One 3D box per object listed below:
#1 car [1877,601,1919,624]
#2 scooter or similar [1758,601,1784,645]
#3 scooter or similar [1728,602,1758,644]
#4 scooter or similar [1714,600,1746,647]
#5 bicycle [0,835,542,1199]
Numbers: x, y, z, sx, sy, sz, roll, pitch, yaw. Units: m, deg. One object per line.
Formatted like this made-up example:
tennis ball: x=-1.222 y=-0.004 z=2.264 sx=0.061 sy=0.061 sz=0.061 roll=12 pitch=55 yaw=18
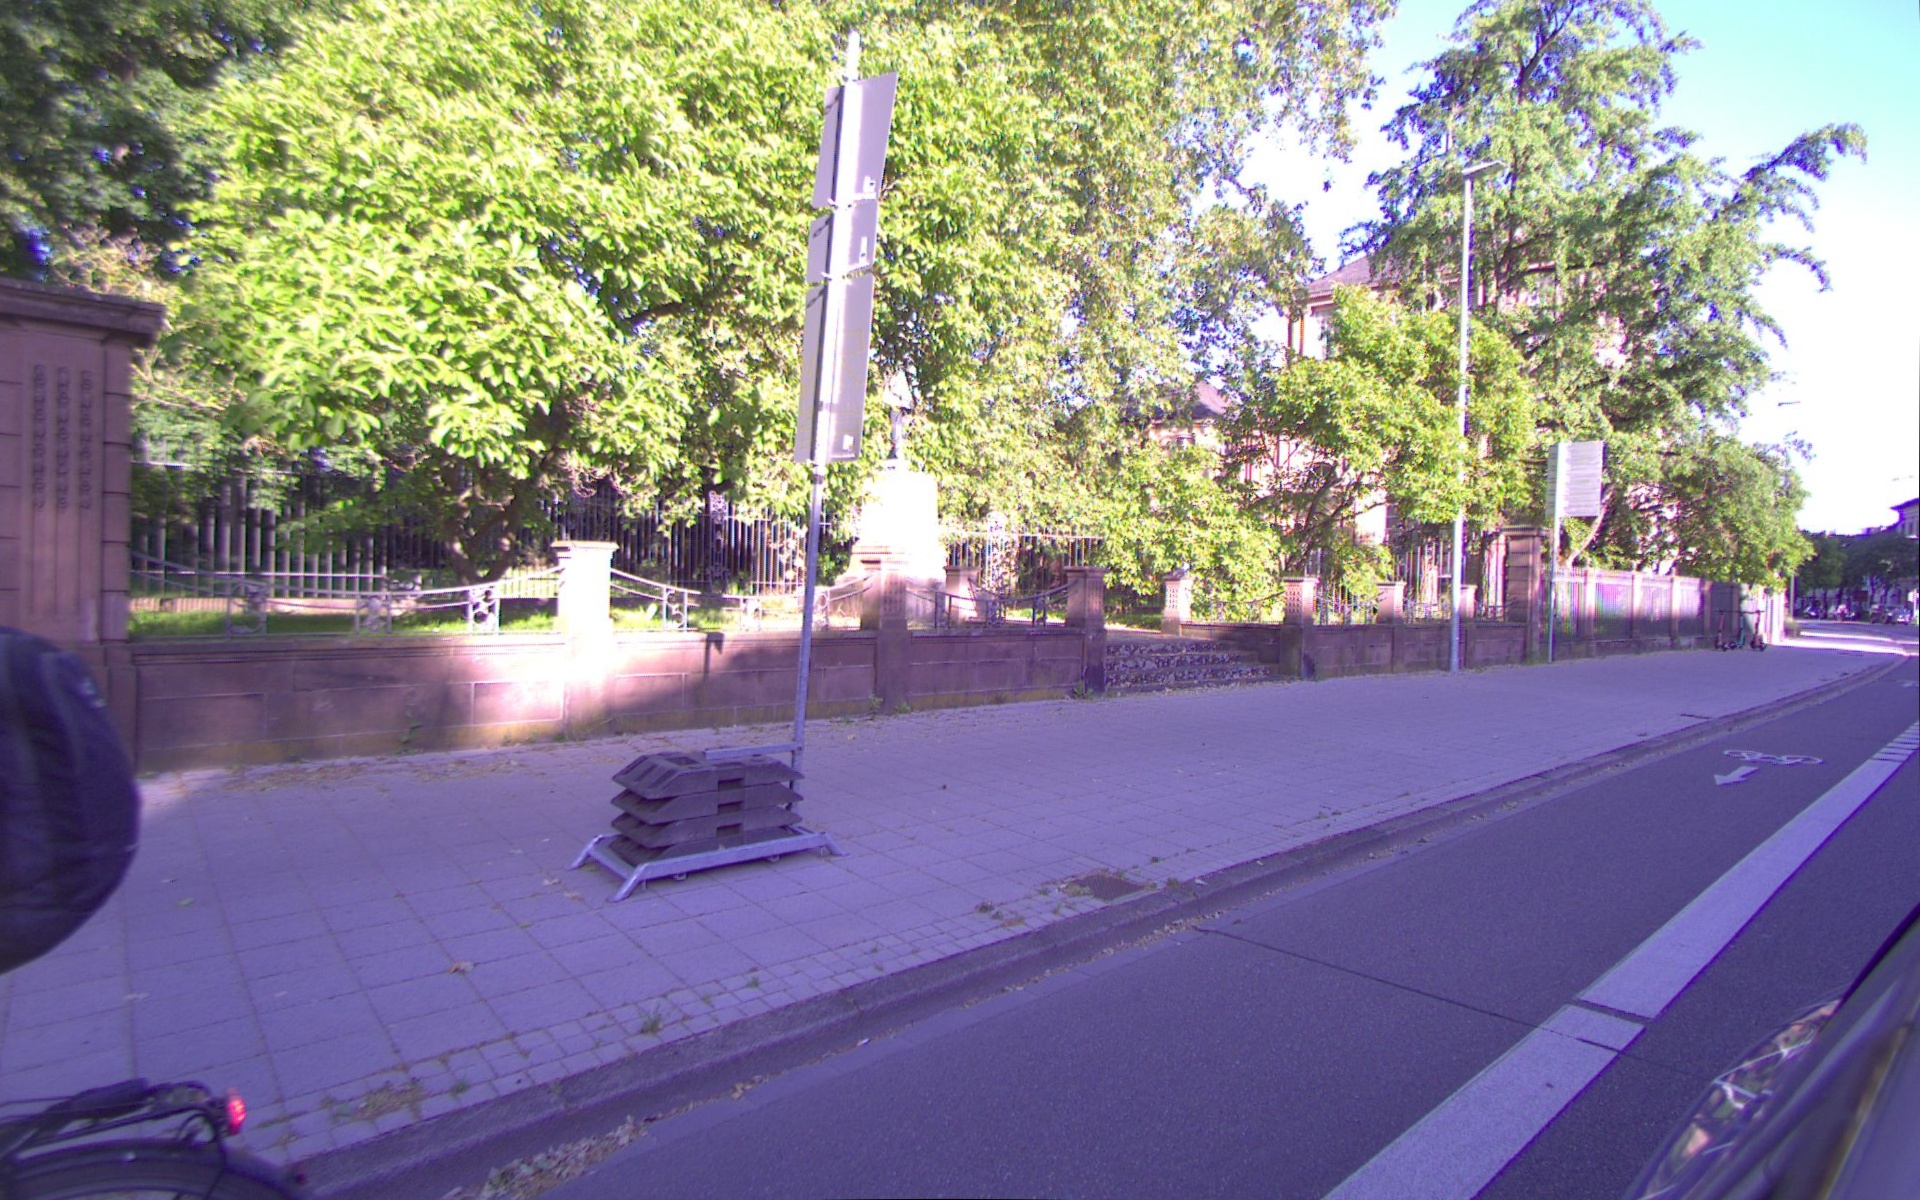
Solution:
car: x=93.004 y=1.244 z=99.798 sx=1.972 sy=2.131 sz=4.494 roll=2 pitch=2 yaw=16
scooter or similar: x=24.506 y=0.683 z=30.591 sx=0.514 sy=1.255 sz=1.502 roll=2 pitch=1 yaw=37
scooter or similar: x=23.406 y=0.671 z=30.242 sx=0.574 sy=1.199 sz=1.465 roll=3 pitch=2 yaw=41
scooter or similar: x=22.059 y=0.653 z=29.017 sx=0.572 sy=1.269 sz=1.470 roll=2 pitch=1 yaw=33
bicycle: x=-1.575 y=0.959 z=0.998 sx=2.045 sy=1.022 sz=0.669 roll=0 pitch=0 yaw=-42
